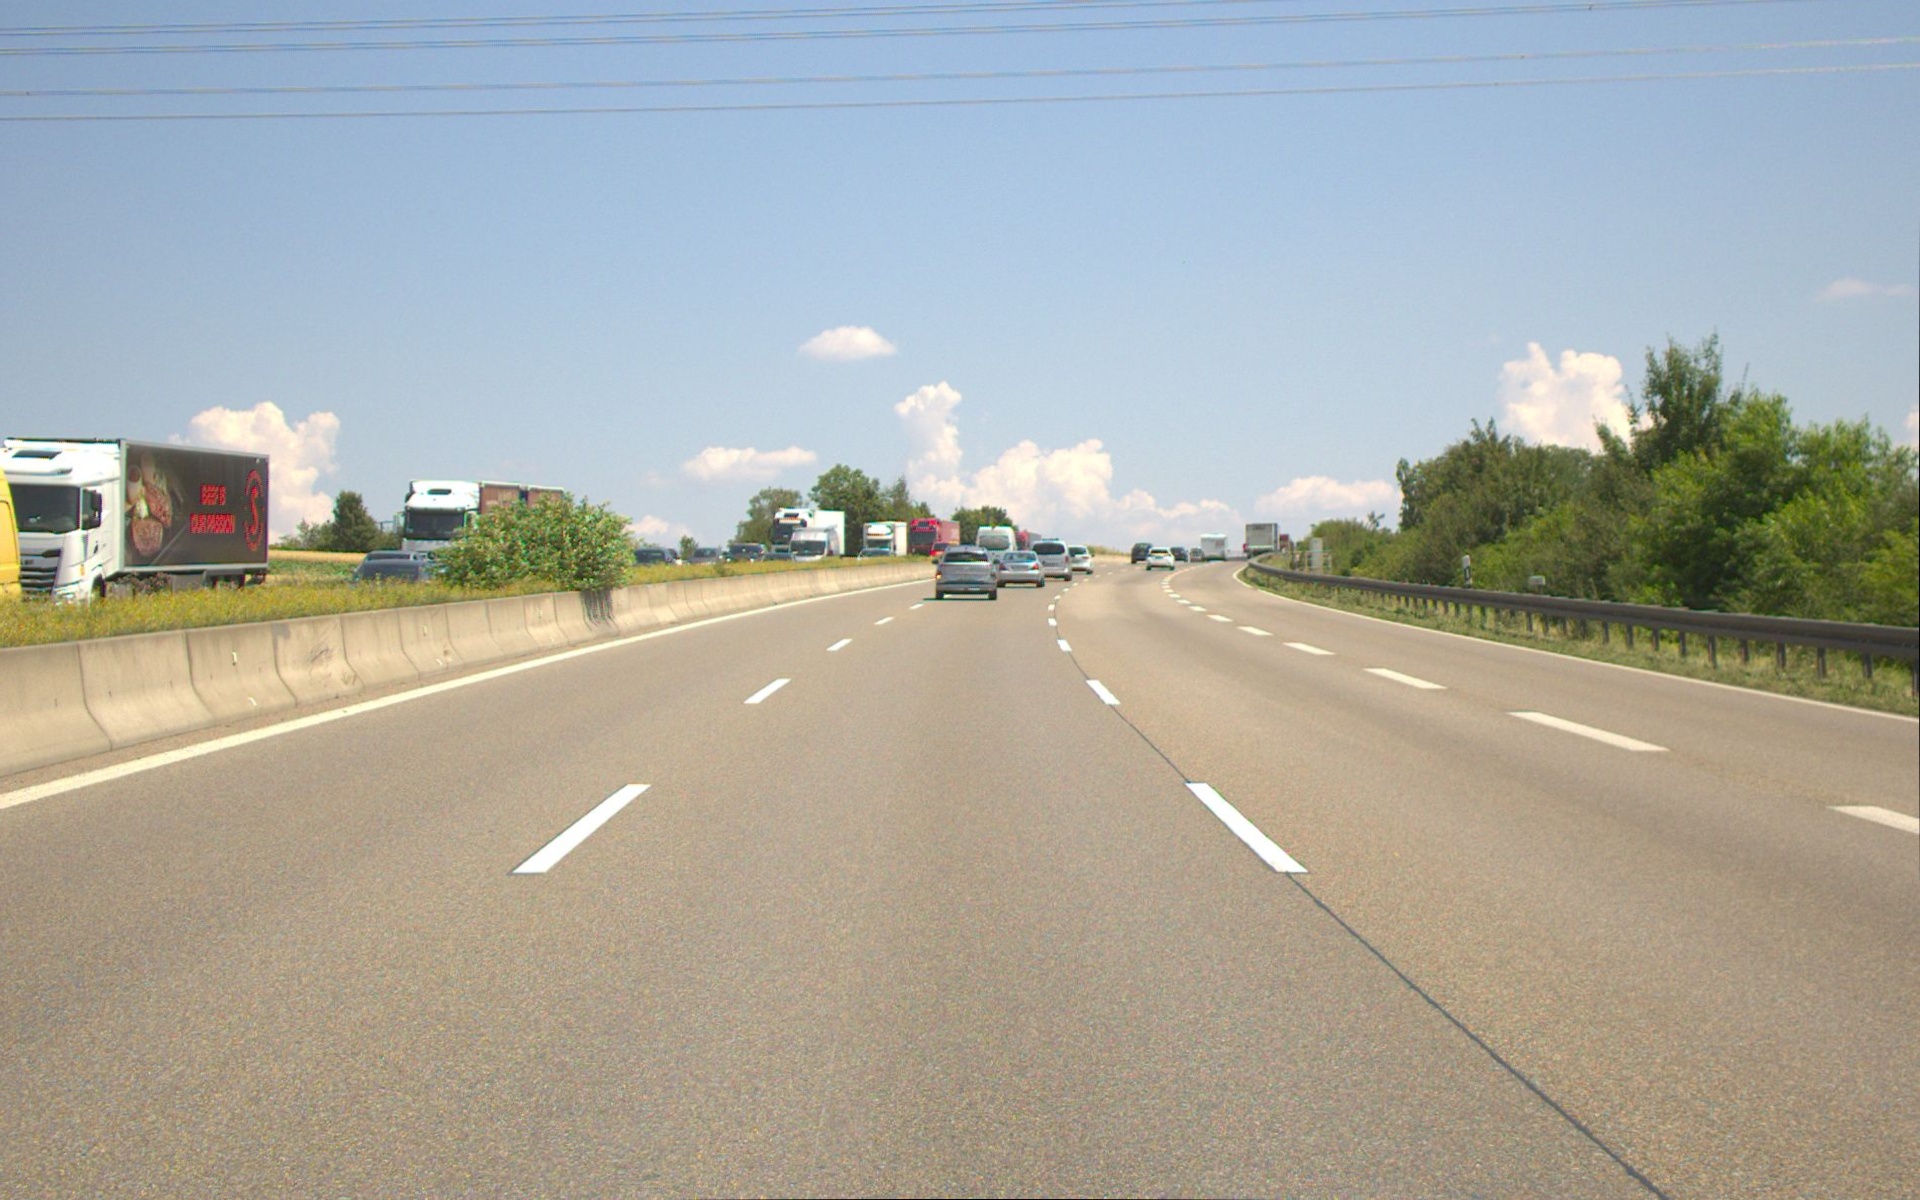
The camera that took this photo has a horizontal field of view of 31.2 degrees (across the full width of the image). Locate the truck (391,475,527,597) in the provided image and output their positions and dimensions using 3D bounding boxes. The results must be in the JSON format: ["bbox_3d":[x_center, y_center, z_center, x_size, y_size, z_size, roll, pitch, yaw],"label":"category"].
[{"bbox_3d":[-17.866,-2.295,123.247,2.887,4.157,10.622,1,1,2],"label":"truck"}]

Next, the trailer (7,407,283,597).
[{"bbox_3d":[-19.084,-2.218,81.678,2.793,4.091,14.006,0,1,2],"label":"trailer"}]

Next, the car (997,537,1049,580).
[{"bbox_3d":[2.484,-1.604,134.817,1.993,1.579,4.000,0,0,2],"label":"car"}]

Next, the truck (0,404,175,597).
[{"bbox_3d":[-19.358,-2.118,74.821,2.853,4.013,6.514,0,1,2],"label":"truck"}]

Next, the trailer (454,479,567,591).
[{"bbox_3d":[-17.378,-2.520,133.484,2.776,4.169,9.177,1,1,2],"label":"trailer"}]

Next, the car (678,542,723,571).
[{"bbox_3d":[-14.212,-2.397,188.537,1.993,1.612,4.000,0,1,2],"label":"car"}]

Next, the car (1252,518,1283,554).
[{"bbox_3d":[19.904,-4.112,222.591,1.994,2.293,6.262,0,1,5],"label":"car"}]

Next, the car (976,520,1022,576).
[{"bbox_3d":[2.027,-2.656,176.830,2.180,2.616,4.671,0,-2,3],"label":"car"}]

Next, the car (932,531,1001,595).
[{"bbox_3d":[0.186,-1.088,103.423,1.993,1.744,4.000,1,-2,-1],"label":"car"}]

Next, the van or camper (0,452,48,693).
[{"bbox_3d":[-11.787,-0.297,37.301,2.084,2.698,6.139,1,1,0],"label":"van or camper"}]

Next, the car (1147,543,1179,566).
[{"bbox_3d":[13.066,-2.913,220.744,1.902,1.437,3.999,0,1,5],"label":"car"}]

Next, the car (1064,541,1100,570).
[{"bbox_3d":[6.882,-2.515,193.945,1.993,1.546,4.000,2,1,2],"label":"car"}]

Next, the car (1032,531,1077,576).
[{"bbox_3d":[4.340,-2.101,157.536,1.993,1.897,3.999,0,-2,2],"label":"car"}]
